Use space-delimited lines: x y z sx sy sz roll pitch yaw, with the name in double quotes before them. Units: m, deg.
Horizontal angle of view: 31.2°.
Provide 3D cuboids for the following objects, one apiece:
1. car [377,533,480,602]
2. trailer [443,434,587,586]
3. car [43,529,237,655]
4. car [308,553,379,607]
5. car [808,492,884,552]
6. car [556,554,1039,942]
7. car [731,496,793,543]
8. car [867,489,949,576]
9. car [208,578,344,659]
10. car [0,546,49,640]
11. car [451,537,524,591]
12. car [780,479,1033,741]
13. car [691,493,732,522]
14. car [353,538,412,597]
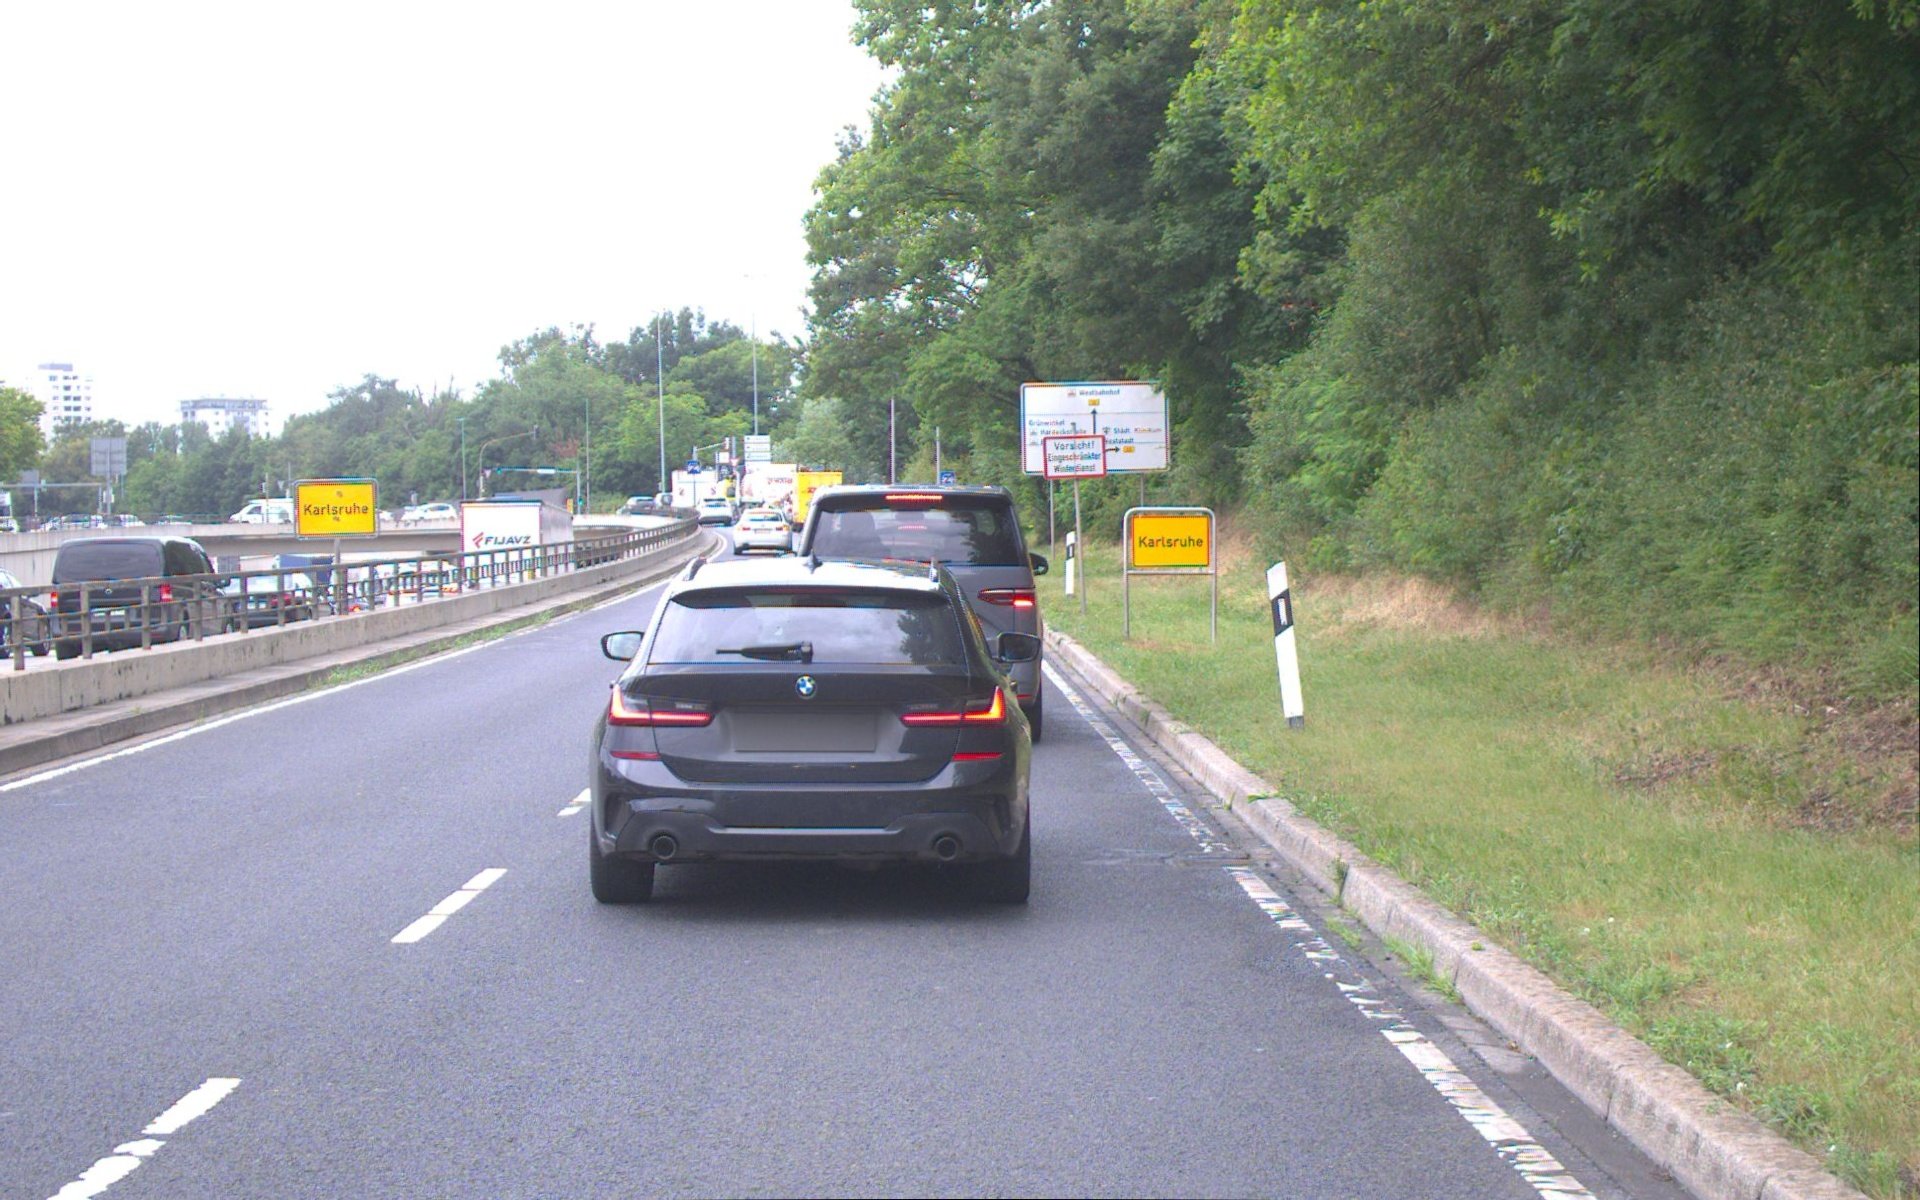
"car" -13.525 -0.856 87.745 1.946 1.686 4.507 -1 1 0
"trailer" -14.717 -2.919 114.846 3.132 4.709 14.559 1 1 -1
"car" -12.483 -0.160 52.617 1.993 1.845 4.812 0 1 -2
"car" -19.461 -0.652 108.659 1.687 1.626 3.735 1 1 -2
"car" -2.887 -1.967 87.211 1.859 1.459 4.534 0 1 -2
"car" -0.707 0.540 15.167 1.846 1.461 4.001 0 1 -3
"car" -6.359 -2.587 110.845 1.859 1.459 4.885 0 1 -2
"car" -0.953 -1.237 62.911 1.452 1.535 3.225 -1 1 -1
"car" -13.199 0.337 66.590 1.712 1.452 4.666 0 1 0
"car" -17.562 -0.151 61.301 1.687 1.602 4.008 1 1 -2
"car" -13.879 -1.063 101.084 1.768 1.544 3.493 -1 1 -2
"car" -0.405 0.038 26.488 1.796 1.865 4.000 0 1 -1
"car" -13.753 -5.099 189.880 1.930 1.590 3.878 -1 1 -9
"car" -20.388 -1.164 121.502 1.443 2.037 3.680 -1 1 0
